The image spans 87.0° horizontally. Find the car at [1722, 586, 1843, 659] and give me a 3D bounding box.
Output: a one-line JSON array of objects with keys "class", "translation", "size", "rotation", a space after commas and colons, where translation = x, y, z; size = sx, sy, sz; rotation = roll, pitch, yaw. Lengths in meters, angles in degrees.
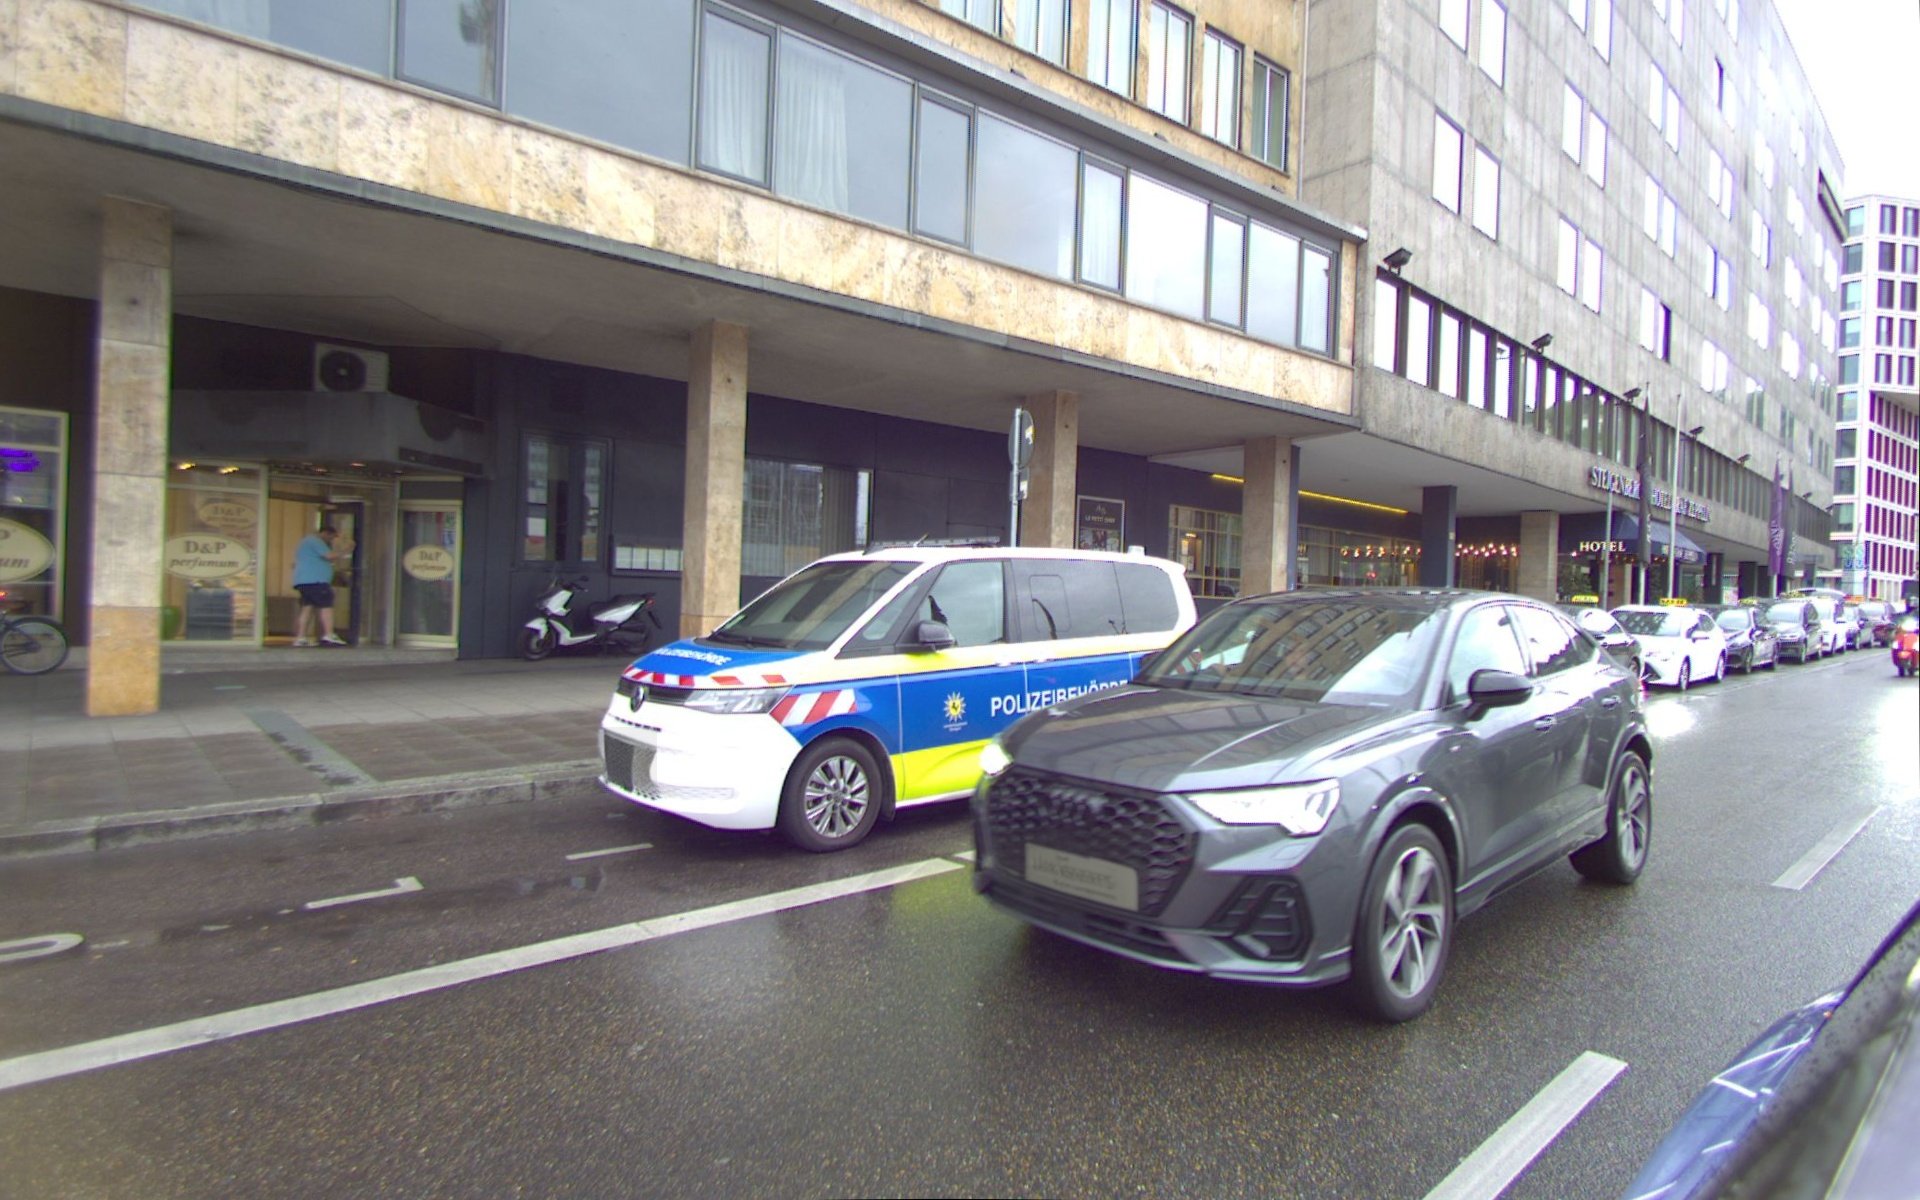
[{"class": "car", "translation": [21.909, 0.533, 26.885], "size": [4.731, 1.764, 1.729], "rotation": [0, 0, -41]}]

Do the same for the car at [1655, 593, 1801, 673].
[{"class": "car", "translation": [17.389, 0.652, 22.837], "size": [4.731, 1.612, 1.729], "rotation": [0, 0, -41]}]

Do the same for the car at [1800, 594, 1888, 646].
[{"class": "car", "translation": [29.699, 0.611, 33.955], "size": [3.932, 1.634, 1.729], "rotation": [0, 0, -41]}]

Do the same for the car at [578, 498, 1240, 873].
[{"class": "car", "translation": [-0.091, 0.423, 7.563], "size": [4.850, 1.944, 1.877], "rotation": [0, 0, -41]}]

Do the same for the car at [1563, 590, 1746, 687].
[{"class": "car", "translation": [13.133, 0.615, 19.024], "size": [4.731, 1.612, 1.729], "rotation": [0, 0, -41]}]

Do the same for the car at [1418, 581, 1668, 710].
[{"class": "car", "translation": [8.918, 0.565, 15.296], "size": [4.731, 1.658, 1.877], "rotation": [0, 0, -41]}]

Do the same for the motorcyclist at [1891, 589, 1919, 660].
[{"class": "motorcyclist", "translation": [20.950, 0.525, 22.066], "size": [0.829, 1.547, 0.860], "rotation": [0, 0, -40]}]

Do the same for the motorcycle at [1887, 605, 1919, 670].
[{"class": "motorcycle", "translation": [20.881, 0.794, 21.995], "size": [1.931, 1.323, 0.848], "rotation": [0, 0, -41]}]

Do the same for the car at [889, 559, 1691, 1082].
[{"class": "car", "translation": [1.913, 0.623, 5.061], "size": [4.266, 1.520, 1.882], "rotation": [0, 0, -41]}]

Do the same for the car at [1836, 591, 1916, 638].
[{"class": "car", "translation": [33.661, 0.475, 37.155], "size": [3.932, 1.634, 1.729], "rotation": [0, 0, -41]}]

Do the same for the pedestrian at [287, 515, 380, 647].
[{"class": "pedestrian", "translation": [-8.991, -0.271, 14.538], "size": [1.114, 1.813, 0.801], "rotation": [0, 0, -33]}]

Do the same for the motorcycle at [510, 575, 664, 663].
[{"class": "motorcycle", "translation": [-5.493, 0.255, 14.959], "size": [2.063, 1.233, 0.569], "rotation": [0, 0, -33]}]

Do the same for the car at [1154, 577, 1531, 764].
[{"class": "car", "translation": [4.449, 0.608, 11.323], "size": [4.924, 1.658, 1.877], "rotation": [0, 0, -41]}]

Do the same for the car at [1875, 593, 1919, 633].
[{"class": "car", "translation": [41.198, 0.537, 43.942], "size": [3.932, 1.634, 1.729], "rotation": [0, 0, -41]}]

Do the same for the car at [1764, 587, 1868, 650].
[{"class": "car", "translation": [25.692, 0.496, 30.318], "size": [4.731, 1.764, 1.729], "rotation": [0, 0, -41]}]

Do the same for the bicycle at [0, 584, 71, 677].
[{"class": "bicycle", "translation": [-11.651, 0.349, 11.411], "size": [2.428, 1.059, 0.657], "rotation": [0, 0, -41]}]
